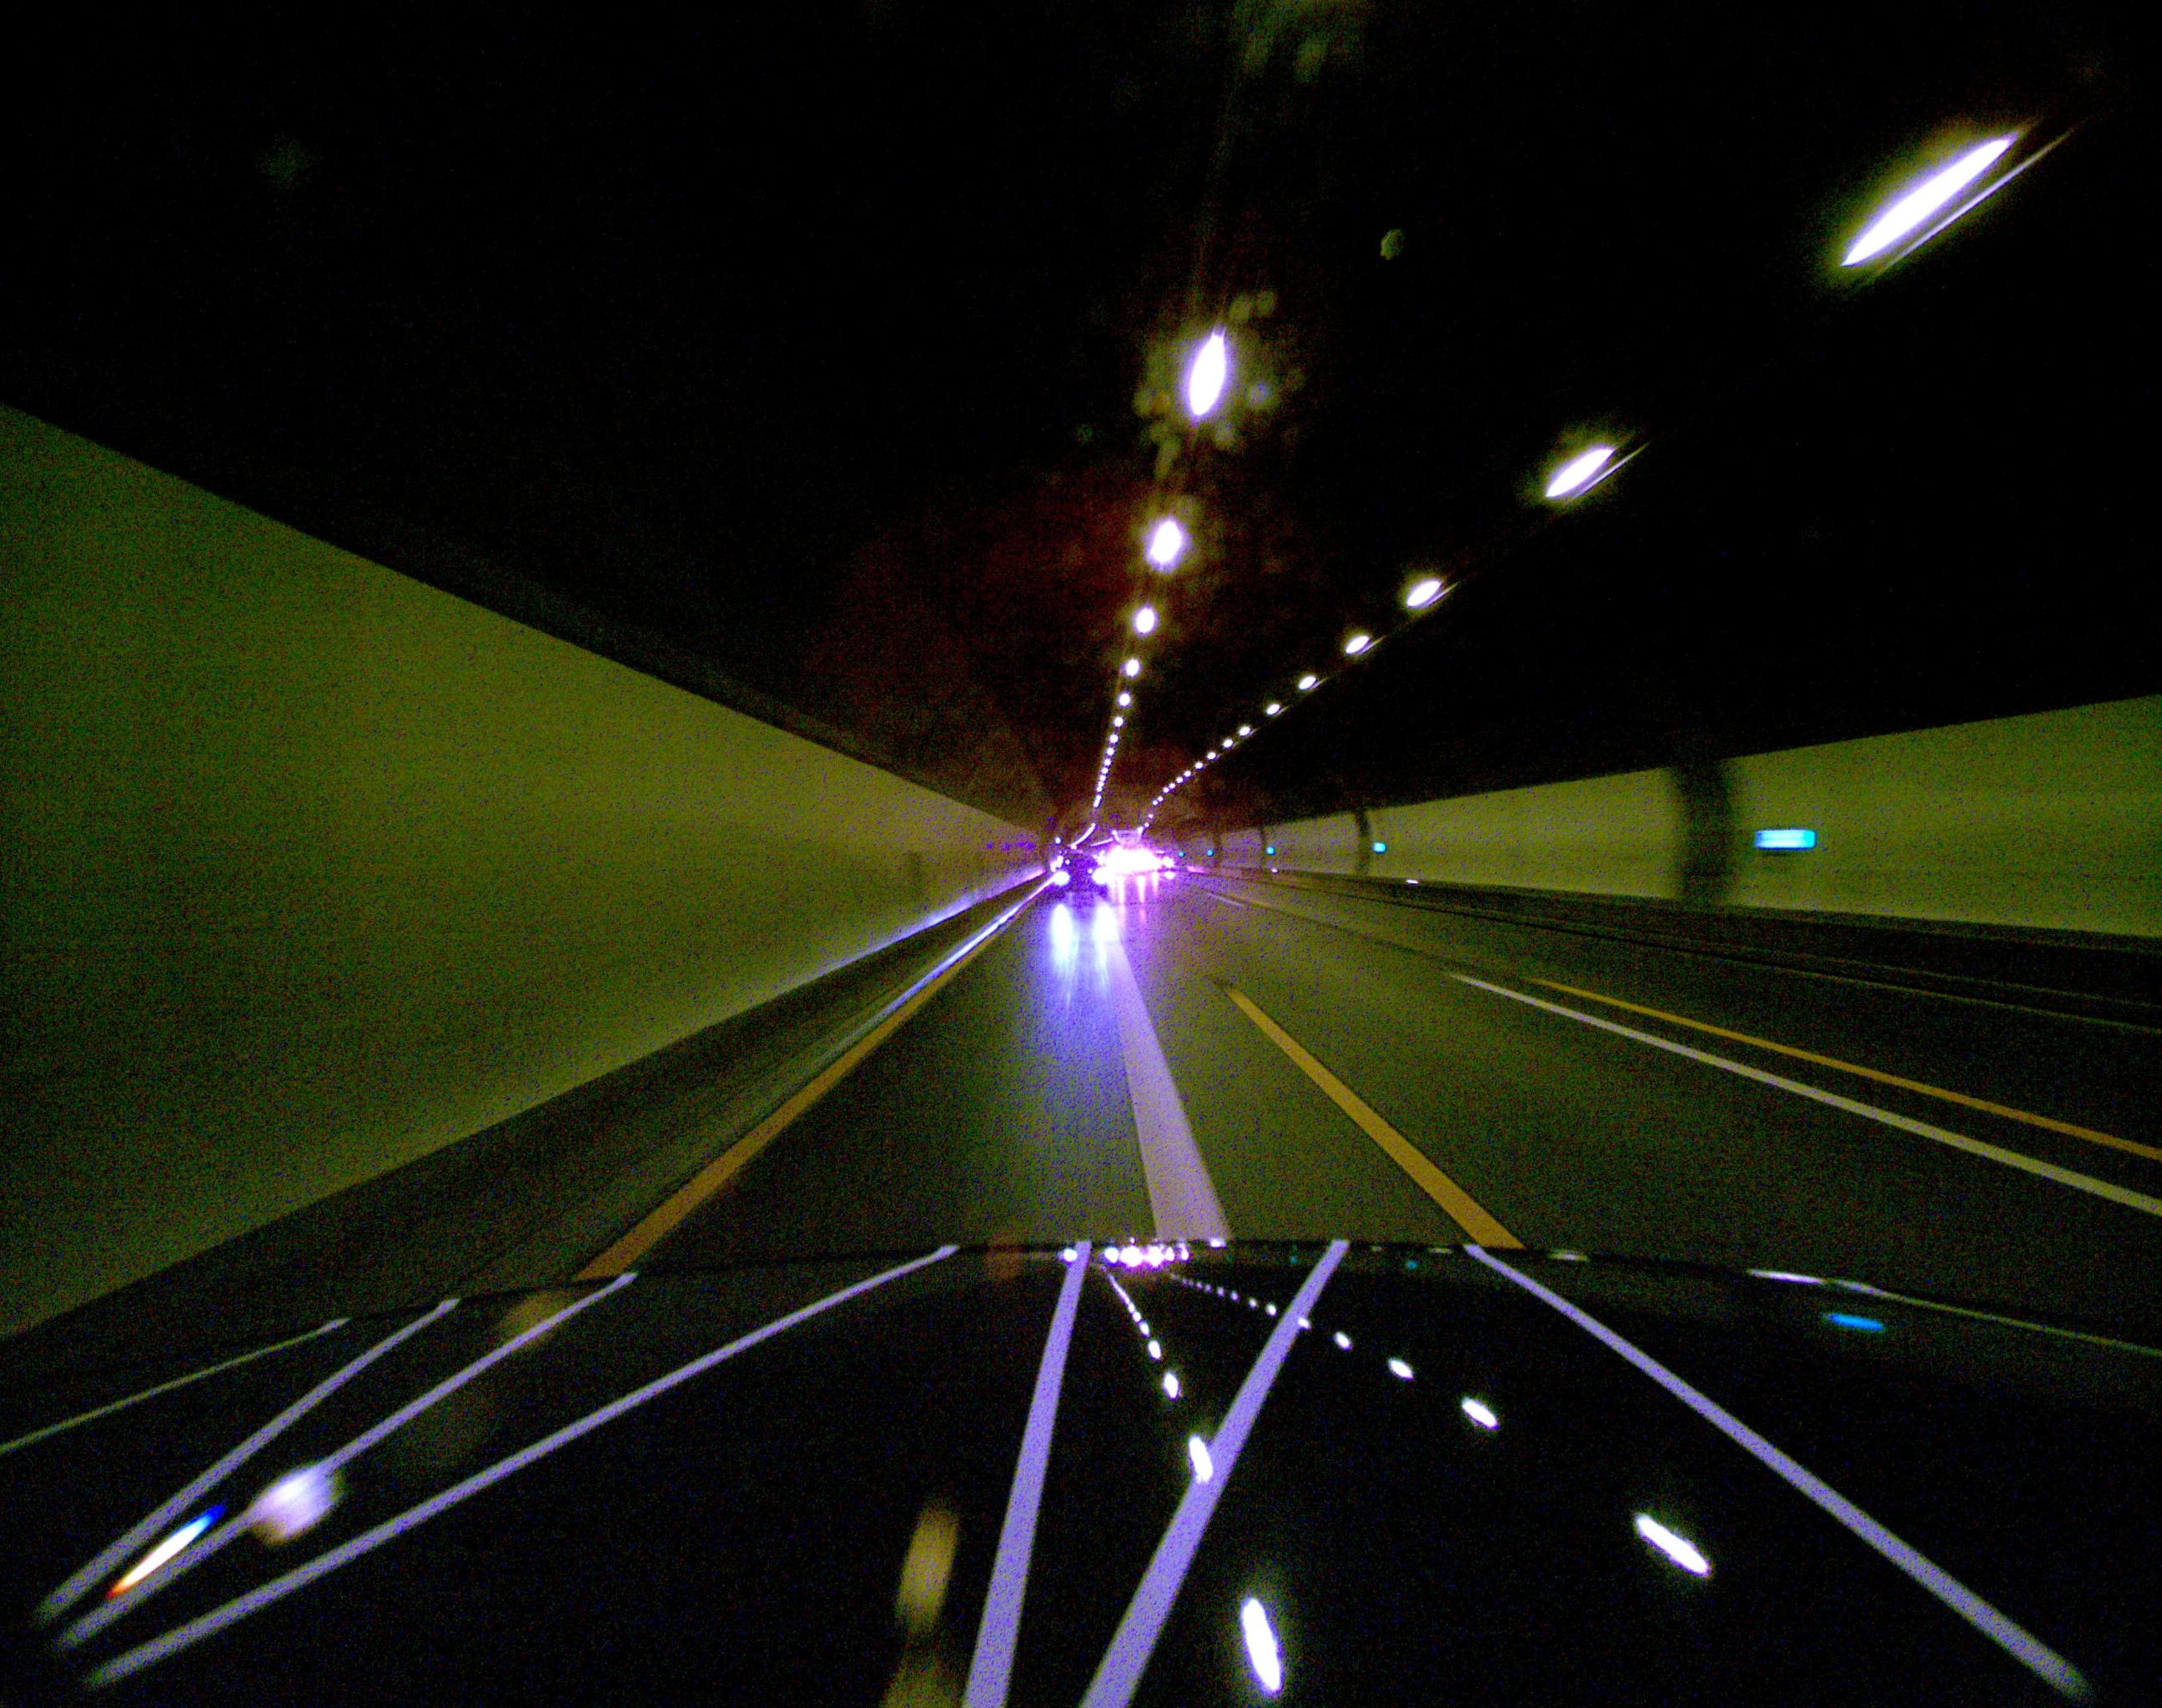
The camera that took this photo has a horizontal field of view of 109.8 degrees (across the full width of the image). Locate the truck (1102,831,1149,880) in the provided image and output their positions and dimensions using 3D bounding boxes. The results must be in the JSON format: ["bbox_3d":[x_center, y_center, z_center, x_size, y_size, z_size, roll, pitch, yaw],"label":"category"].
[{"bbox_3d":[3.164,0.150,56.064,2.534,3.314,7.714,1,-1,-3],"label":"truck"}]

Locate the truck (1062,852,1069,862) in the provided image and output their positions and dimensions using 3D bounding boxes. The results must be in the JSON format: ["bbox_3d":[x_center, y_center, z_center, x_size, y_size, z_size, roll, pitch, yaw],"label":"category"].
[{"bbox_3d":[-5.362,1.044,265.813,2.208,3.448,11.766,2,-1,1],"label":"truck"}]

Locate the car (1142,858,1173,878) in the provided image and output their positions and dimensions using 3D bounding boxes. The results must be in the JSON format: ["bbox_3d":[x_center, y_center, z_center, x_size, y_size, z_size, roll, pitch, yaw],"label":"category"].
[{"bbox_3d":[6.077,1.092,60.769,1.998,1.531,4.851,1,0,0],"label":"car"}]

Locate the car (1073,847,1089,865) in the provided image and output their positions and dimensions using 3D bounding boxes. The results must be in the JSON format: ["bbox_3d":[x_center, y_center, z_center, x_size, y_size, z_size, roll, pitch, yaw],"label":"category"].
[{"bbox_3d":[-0.050,0.301,112.816,1.999,2.710,6.272,1,0,-3],"label":"car"}]

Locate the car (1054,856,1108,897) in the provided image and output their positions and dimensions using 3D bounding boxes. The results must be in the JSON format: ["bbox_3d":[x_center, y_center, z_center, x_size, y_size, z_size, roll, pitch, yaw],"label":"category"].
[{"bbox_3d":[-0.072,0.829,29.269,1.826,1.469,4.521,1,-1,-3],"label":"car"}]

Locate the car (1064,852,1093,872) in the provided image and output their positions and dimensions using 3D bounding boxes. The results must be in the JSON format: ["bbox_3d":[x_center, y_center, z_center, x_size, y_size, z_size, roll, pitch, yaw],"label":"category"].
[{"bbox_3d":[-0.233,0.609,59.321,1.999,1.531,4.741,1,0,-3],"label":"car"}]

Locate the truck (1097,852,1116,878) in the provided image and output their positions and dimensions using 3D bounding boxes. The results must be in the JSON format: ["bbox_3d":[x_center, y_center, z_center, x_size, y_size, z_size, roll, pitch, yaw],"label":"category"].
[{"bbox_3d":[3.104,1.342,94.172,2.162,3.098,6.030,1,0,0],"label":"truck"}]
